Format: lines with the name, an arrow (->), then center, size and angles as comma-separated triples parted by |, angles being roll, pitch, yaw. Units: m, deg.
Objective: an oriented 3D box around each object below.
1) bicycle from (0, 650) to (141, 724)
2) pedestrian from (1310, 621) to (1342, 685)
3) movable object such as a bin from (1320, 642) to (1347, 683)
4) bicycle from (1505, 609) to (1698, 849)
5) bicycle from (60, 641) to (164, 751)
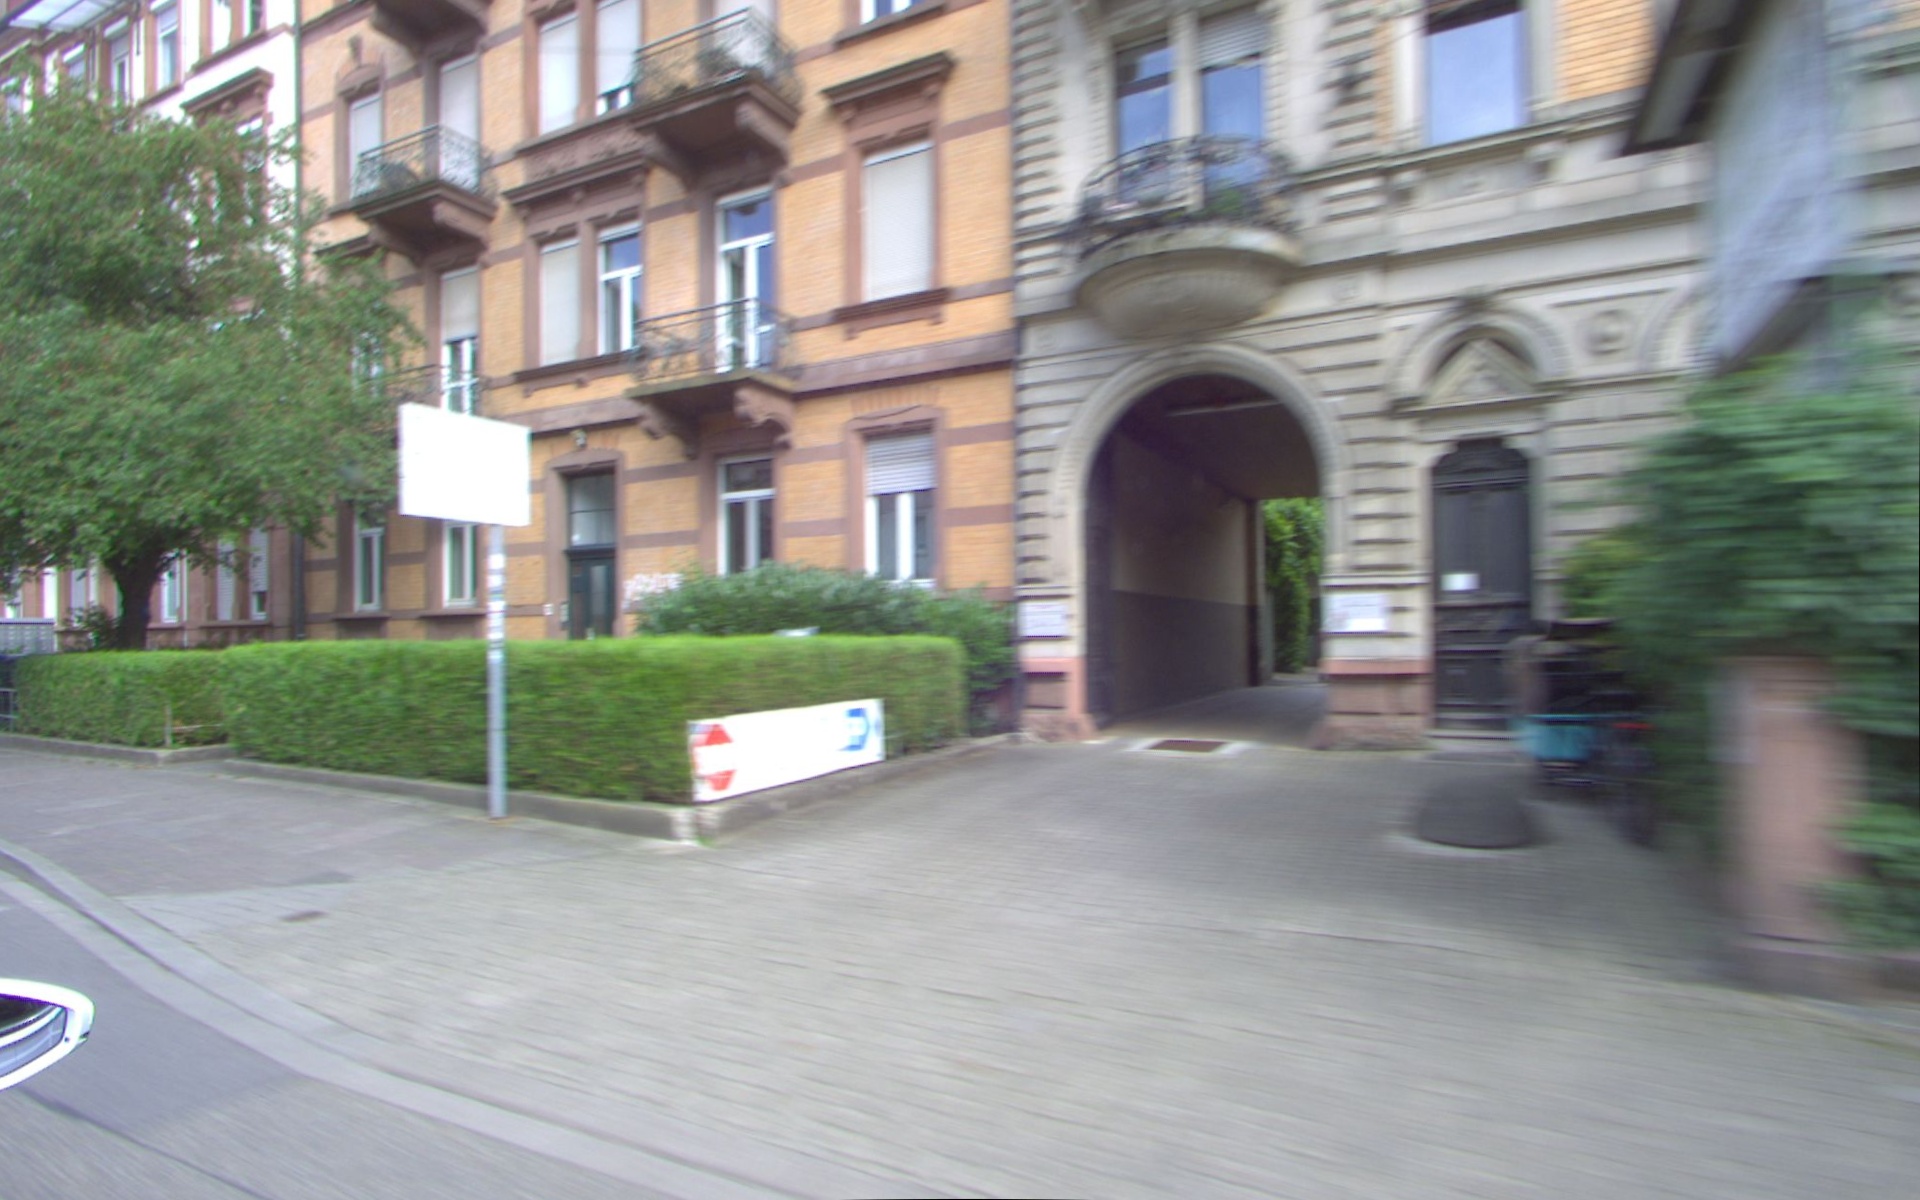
bicycle -> -13.406, 1.278, 15.116 | 0.502, 1.021, 1.545 | -1, -2, 26
pedestrian -> 8.821, 1.275, 24.132 | 0.558, 1.507, 0.591 | -1, -1, 37
movable object such as a bin -> 9.159, 1.526, 24.540 | 0.491, 0.966, 0.523 | -1, -1, 37
bicycle -> 4.292, 0.754, 6.907 | 0.758, 1.328, 2.624 | -1, -2, 25
bicycle -> -10.675, 1.177, 12.594 | 1.527, 1.298, 0.515 | -1, -1, 30
